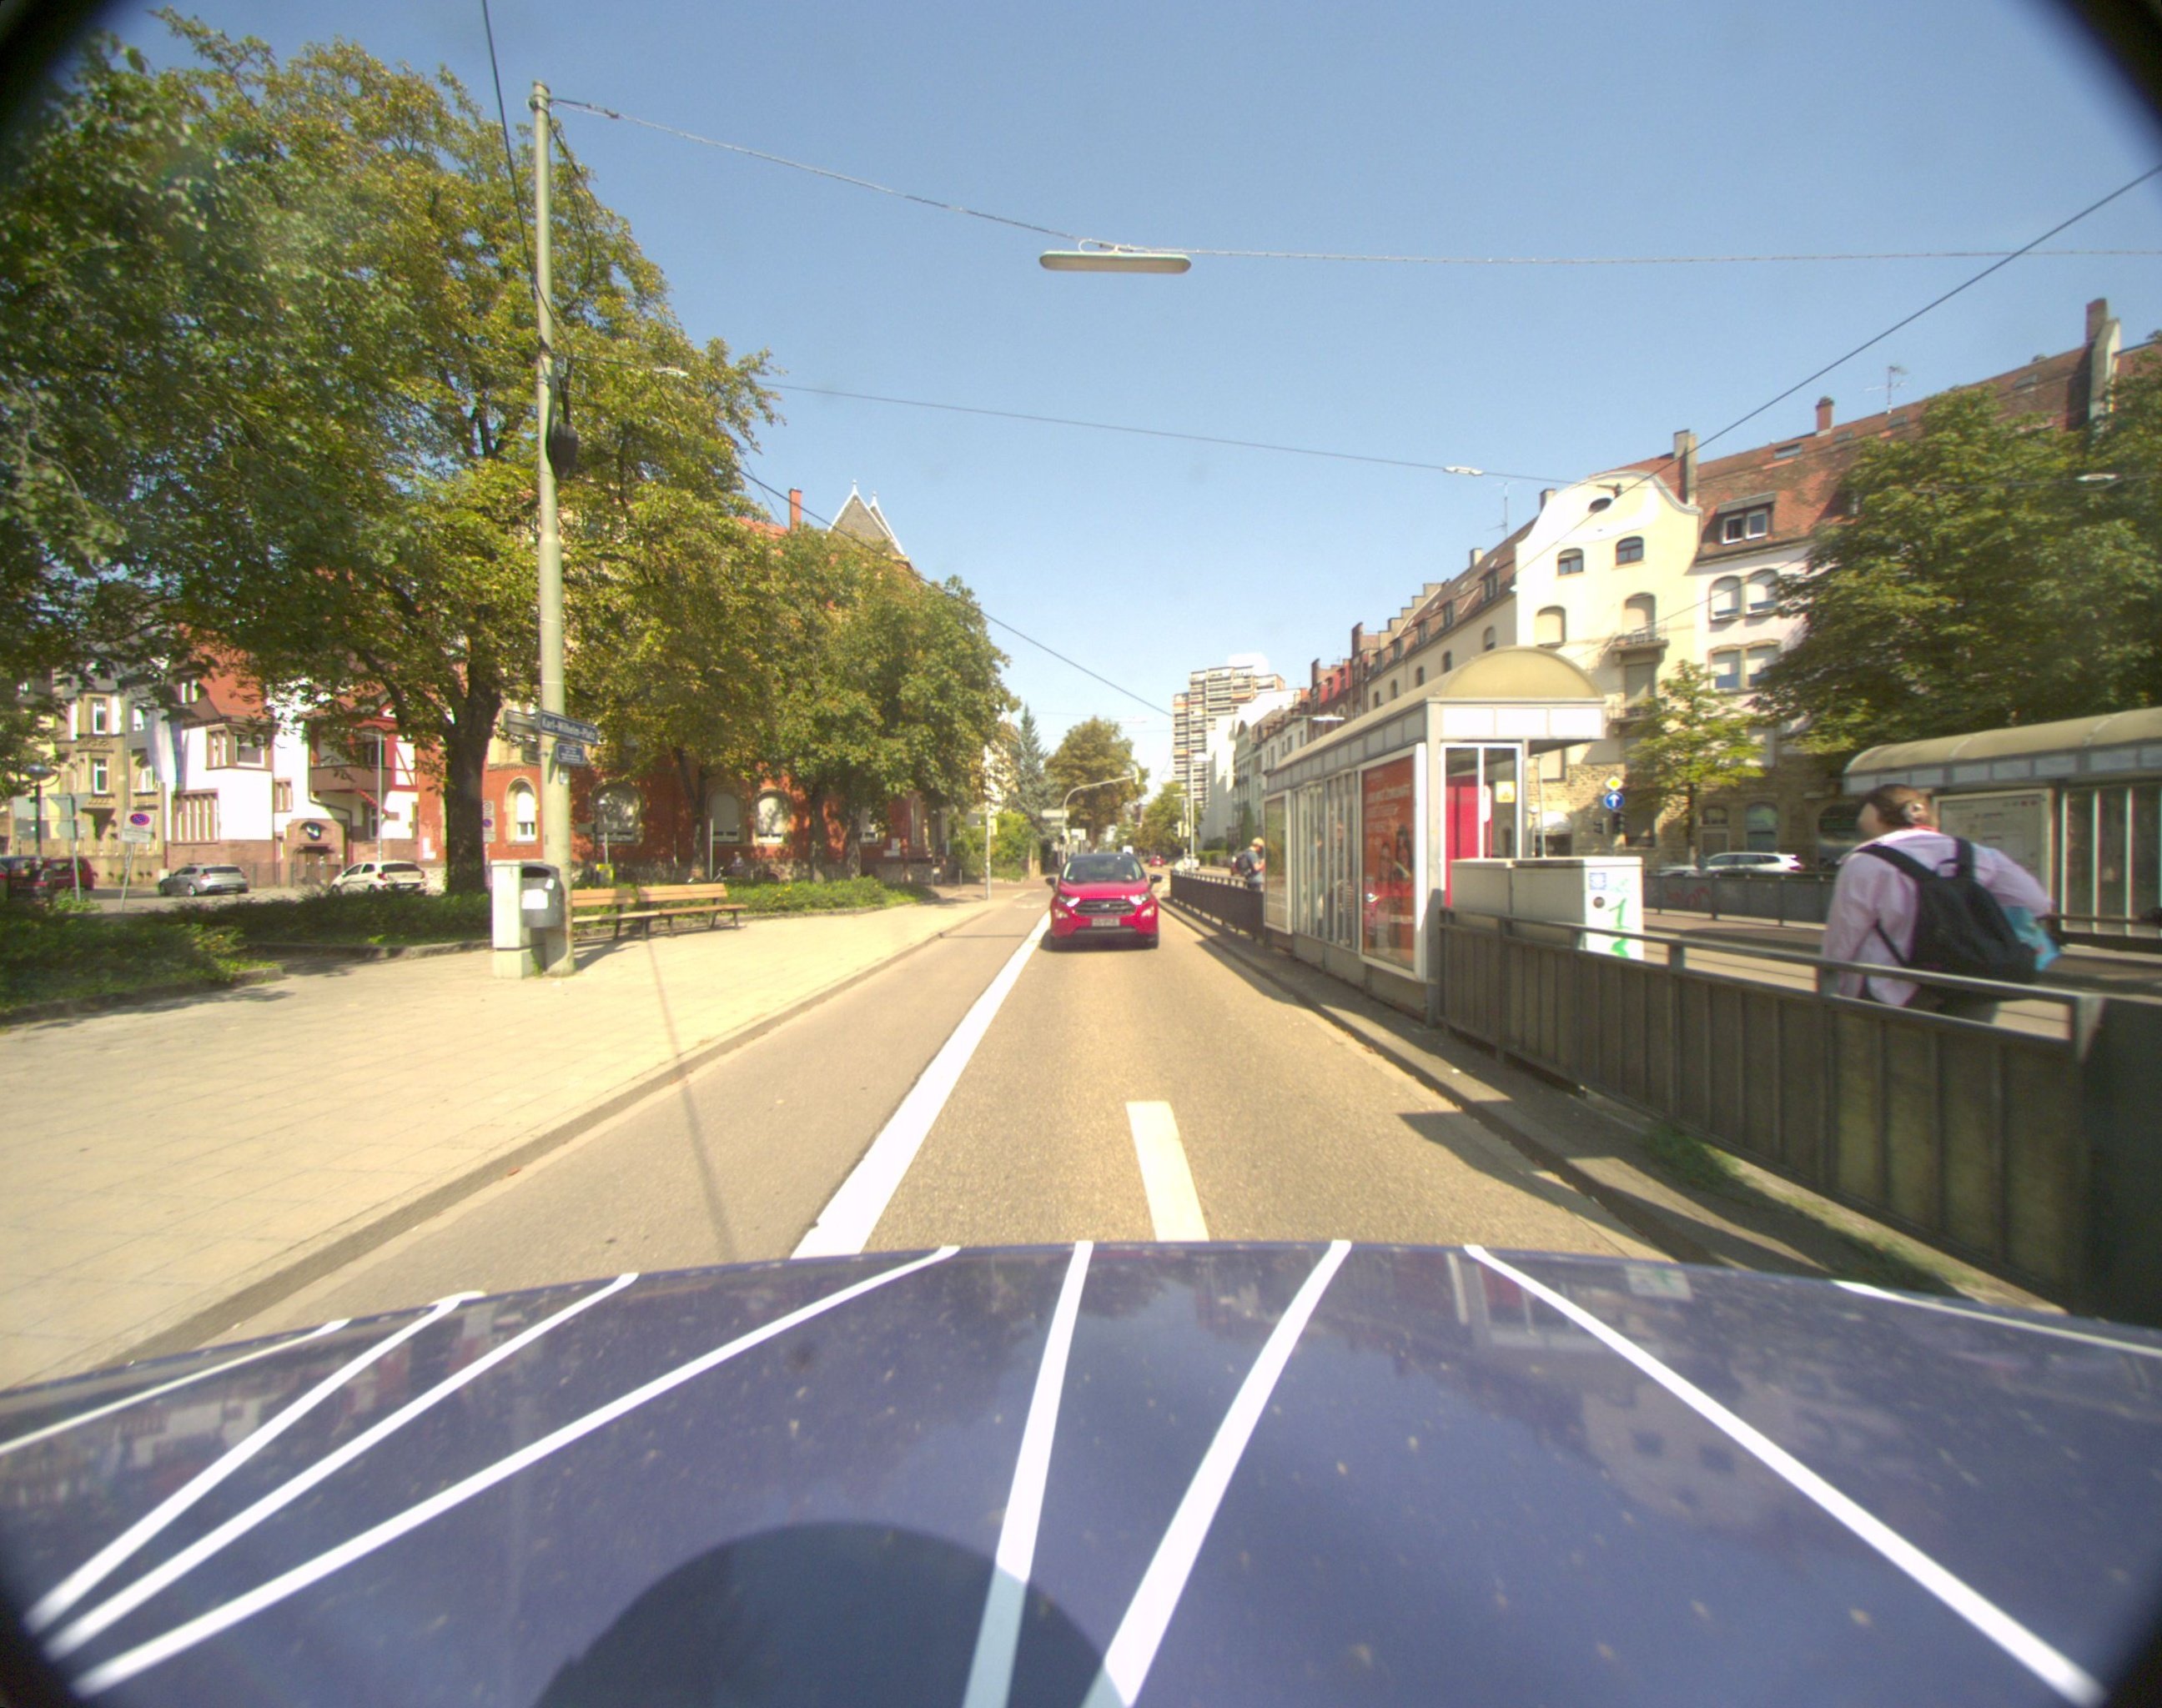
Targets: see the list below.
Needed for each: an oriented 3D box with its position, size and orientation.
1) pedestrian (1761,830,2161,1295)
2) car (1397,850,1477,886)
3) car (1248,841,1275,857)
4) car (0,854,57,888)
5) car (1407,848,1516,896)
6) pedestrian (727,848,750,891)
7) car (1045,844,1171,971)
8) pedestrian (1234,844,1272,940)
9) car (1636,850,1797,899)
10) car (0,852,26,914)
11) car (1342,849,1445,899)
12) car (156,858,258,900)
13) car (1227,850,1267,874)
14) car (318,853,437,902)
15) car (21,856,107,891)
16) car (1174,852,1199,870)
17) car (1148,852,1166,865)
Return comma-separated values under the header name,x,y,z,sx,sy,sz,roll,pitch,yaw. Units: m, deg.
name,x,y,z,sx,sy,sz,roll,pitch,yaw
pedestrian,3.431,0.705,2.994,0.739,1.575,0.853,0,1,0
car,18.113,0.646,38.912,1.998,1.716,4.631,0,0,1
car,20.258,-0.523,85.368,1.998,1.716,4.631,0,0,1
car,-59.757,0.921,42.824,4.404,1.801,1.807,0,1,28
car,14.667,0.624,29.617,1.998,1.716,4.631,0,0,1
pedestrian,-15.398,0.687,34.144,0.677,1.874,0.920,-1,1,-40
car,0.363,0.762,13.081,1.803,1.801,4.415,0,0,-1
pedestrian,3.109,0.668,13.807,0.535,1.684,0.832,0,1,3
car,24.512,0.734,29.403,4.617,1.716,2.004,1,1,44
car,-32.951,0.871,20.853,1.799,1.801,4.424,0,0,27
car,11.728,0.682,28.858,1.998,1.716,4.630,0,0,0
car,-39.908,1.123,34.697,4.405,1.801,1.807,0,1,24
car,12.395,0.590,56.990,1.998,1.716,4.631,0,0,1
car,-27.901,0.893,30.124,4.405,1.801,1.807,0,1,24
car,-54.859,1.026,40.968,4.405,1.801,1.807,0,1,24
car,10.918,0.707,79.122,1.998,1.716,4.631,0,0,1
car,10.562,0.581,105.921,1.998,1.716,4.631,0,0,1
